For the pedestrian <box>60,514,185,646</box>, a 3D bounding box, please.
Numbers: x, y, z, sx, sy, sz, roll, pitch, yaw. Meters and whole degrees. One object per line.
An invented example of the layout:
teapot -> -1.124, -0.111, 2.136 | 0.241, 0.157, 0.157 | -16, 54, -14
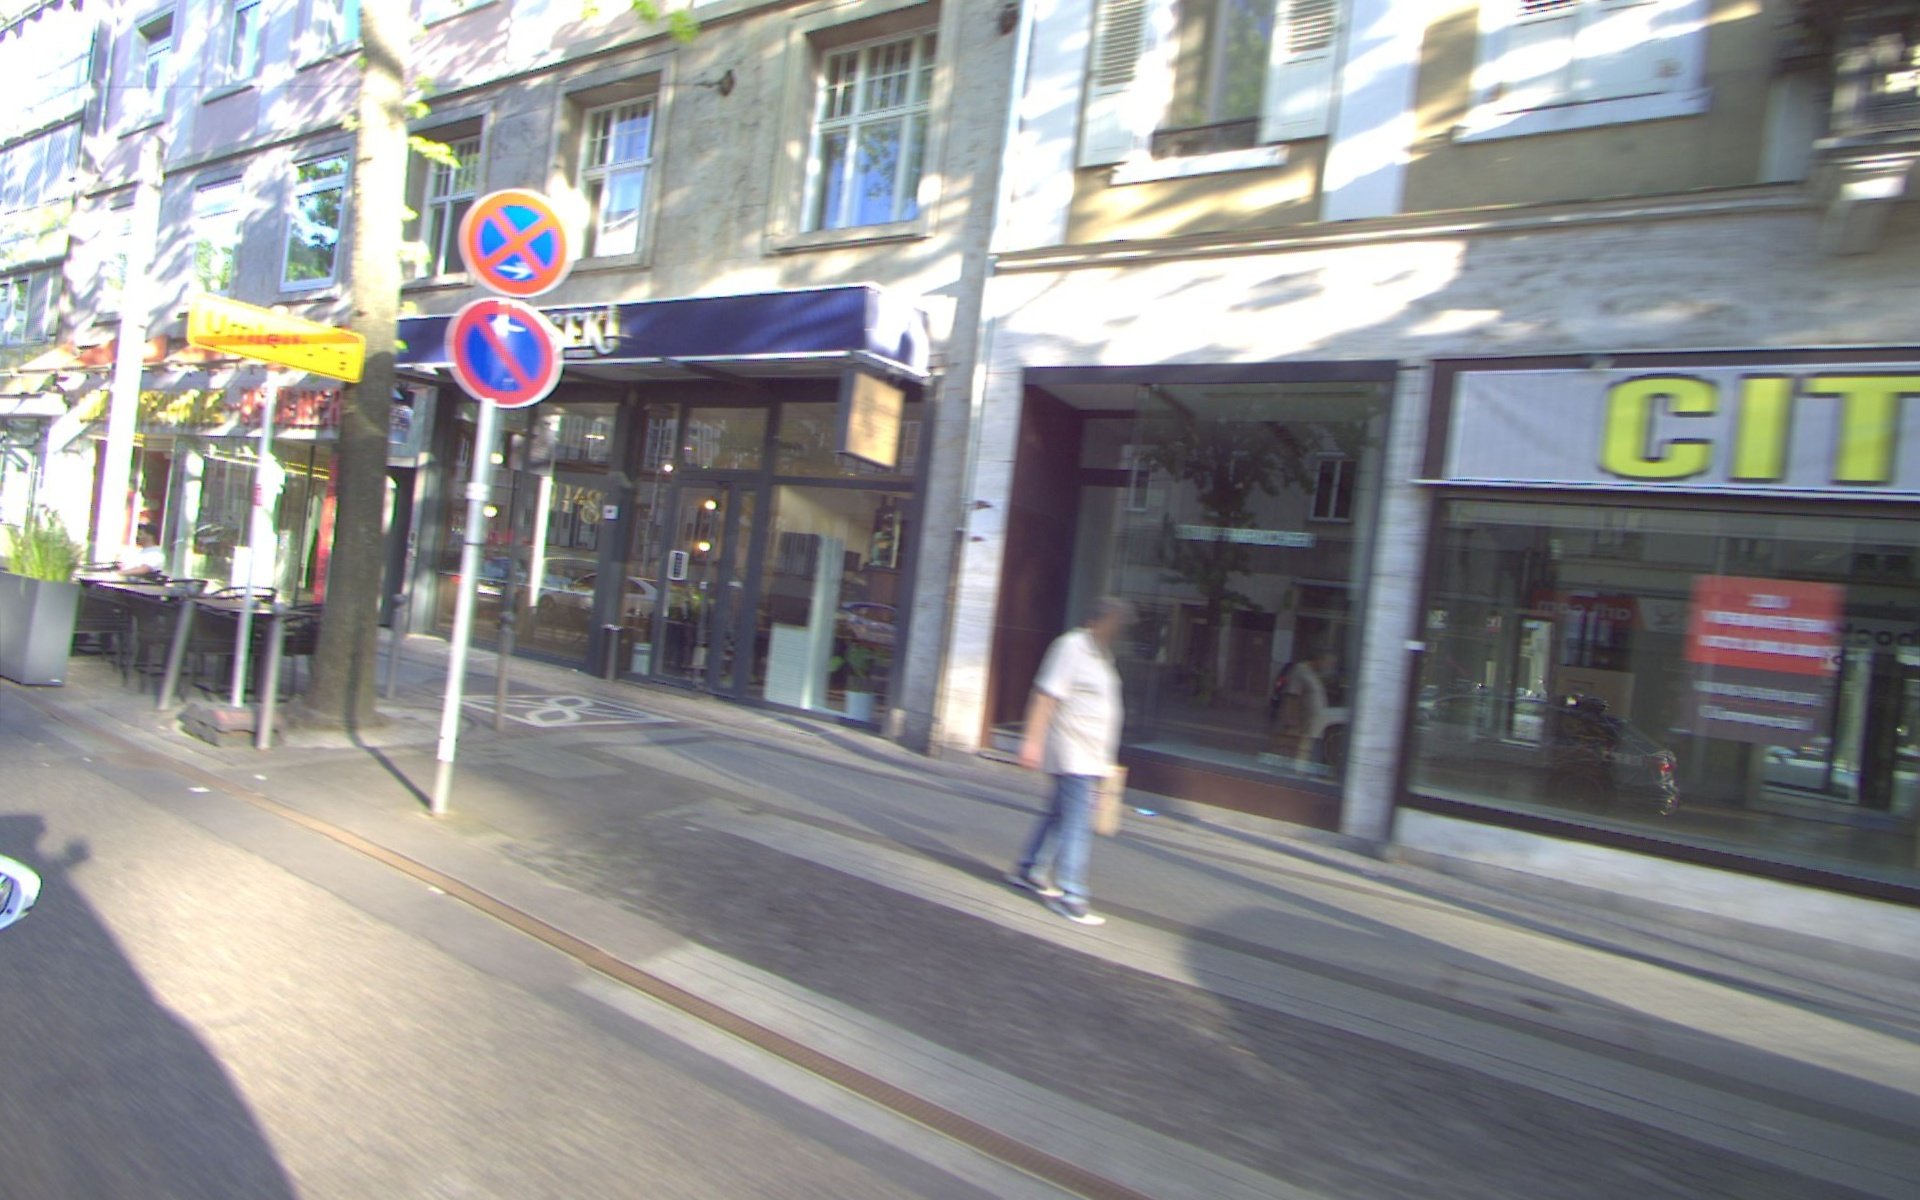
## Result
pedestrian -> -9.746, -0.224, 11.733 | 0.734, 1.404, 0.709 | 7, 1, -6

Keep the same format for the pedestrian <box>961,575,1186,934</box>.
pedestrian -> 0.617, 0.761, 5.350 | 0.743, 1.664, 0.803 | 7, 2, 32

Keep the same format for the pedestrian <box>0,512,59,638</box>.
pedestrian -> -10.207, -0.289, 10.642 | 0.577, 1.281, 0.817 | 7, 1, 37

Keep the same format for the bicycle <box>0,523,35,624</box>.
bicycle -> -11.877, -0.368, 11.579 | 1.716, 1.153, 0.541 | 5, 2, -38
